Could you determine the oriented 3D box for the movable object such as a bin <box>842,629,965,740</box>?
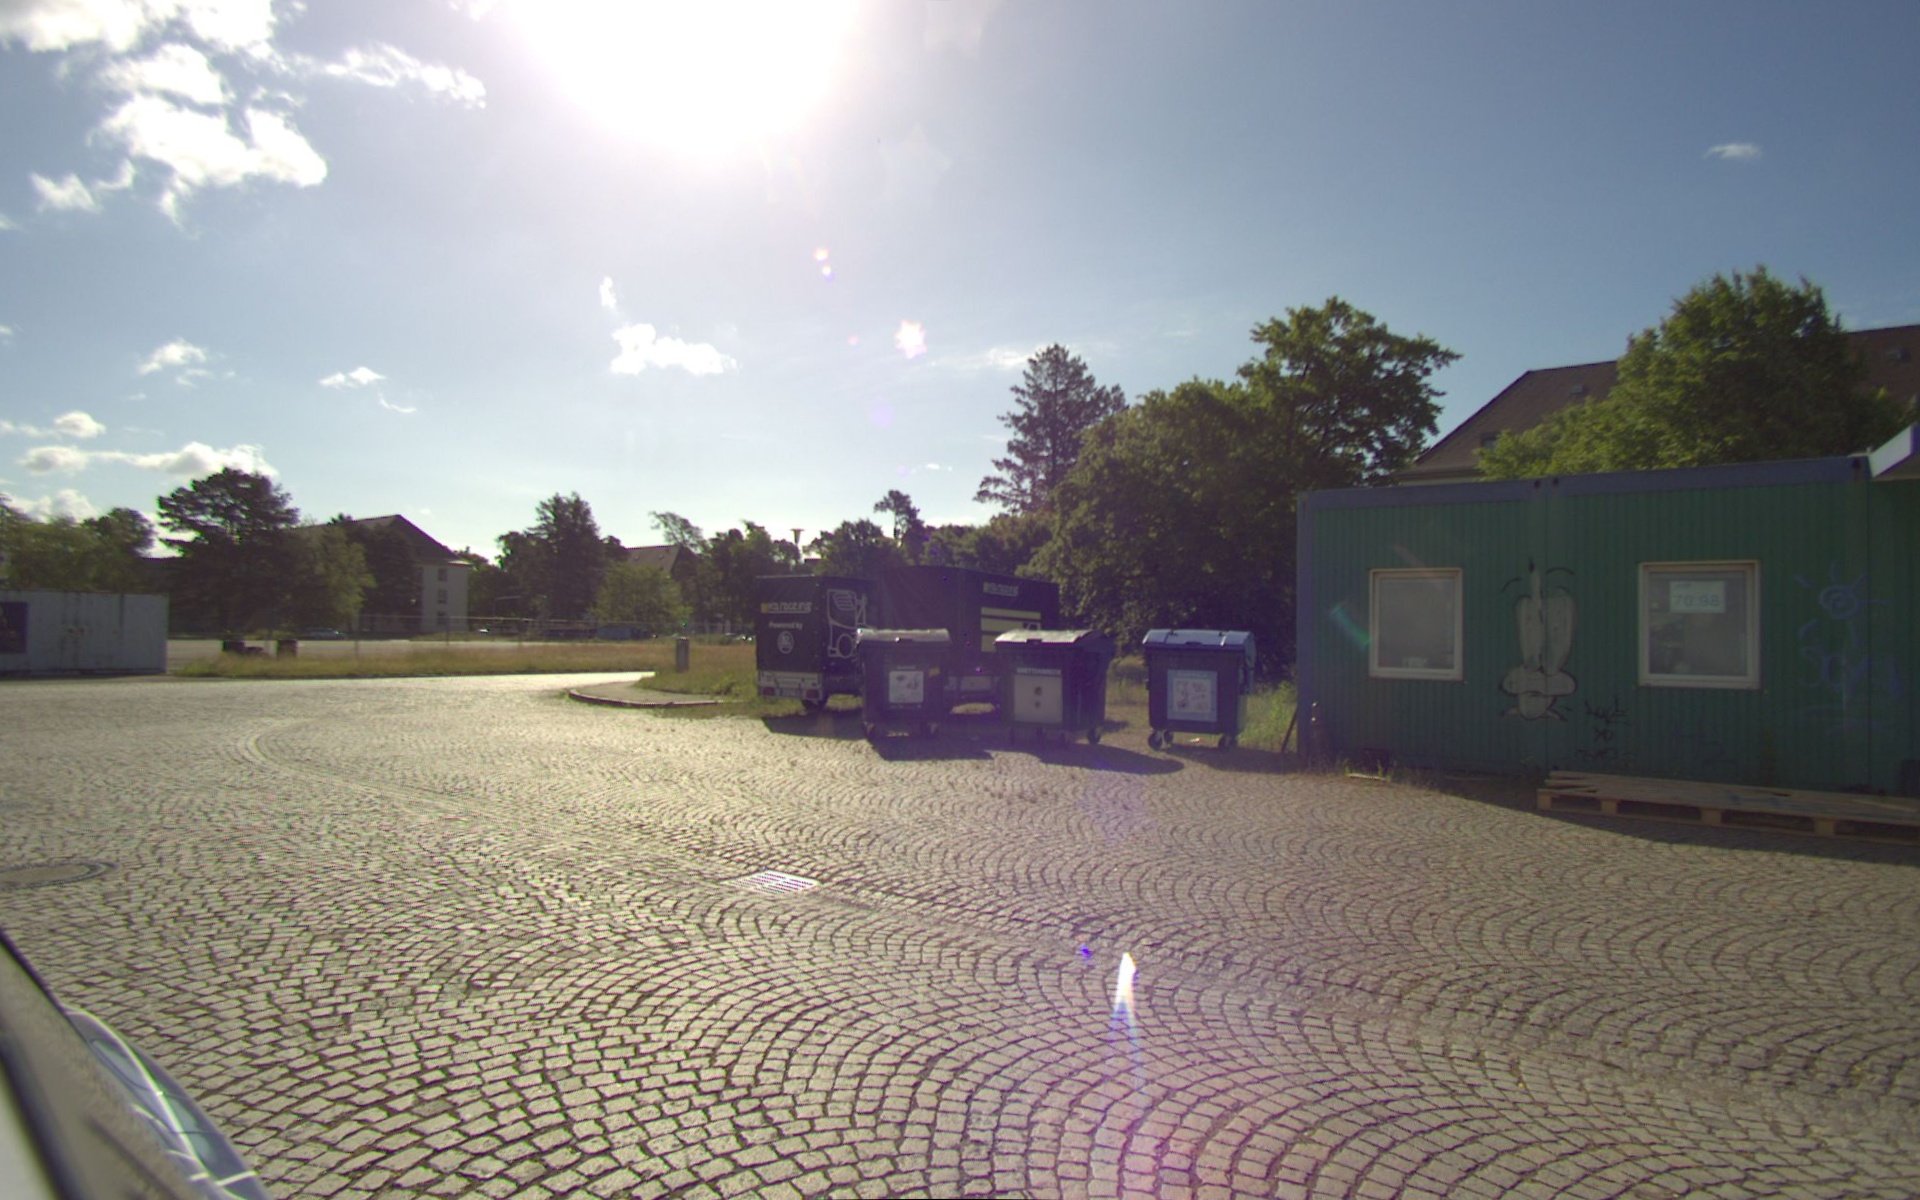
[{"bbox_3d":[-0.797,1.110,13.631,1.511,1.397,1.388,1,-2,-8],"label":"movable object such as a bin"}]

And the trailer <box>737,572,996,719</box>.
[{"bbox_3d":[-1.538,0.810,18.405,2.133,2.315,4.612,0,-2,37],"label":"trailer"}]

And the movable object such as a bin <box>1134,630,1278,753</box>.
[{"bbox_3d":[3.080,1.085,12.561,1.526,1.397,1.375,0,-3,24],"label":"movable object such as a bin"}]

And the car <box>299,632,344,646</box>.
[{"bbox_3d":[-75.254,4.584,119.347,1.993,1.594,3.957,-1,-3,32],"label":"car"}]

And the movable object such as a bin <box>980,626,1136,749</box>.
[{"bbox_3d":[1.244,1.056,12.814,1.533,1.433,1.284,-1,-3,37],"label":"movable object such as a bin"}]

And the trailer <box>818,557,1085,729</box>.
[{"bbox_3d":[0.061,0.703,16.678,2.089,2.373,4.921,-1,-3,32],"label":"trailer"}]
